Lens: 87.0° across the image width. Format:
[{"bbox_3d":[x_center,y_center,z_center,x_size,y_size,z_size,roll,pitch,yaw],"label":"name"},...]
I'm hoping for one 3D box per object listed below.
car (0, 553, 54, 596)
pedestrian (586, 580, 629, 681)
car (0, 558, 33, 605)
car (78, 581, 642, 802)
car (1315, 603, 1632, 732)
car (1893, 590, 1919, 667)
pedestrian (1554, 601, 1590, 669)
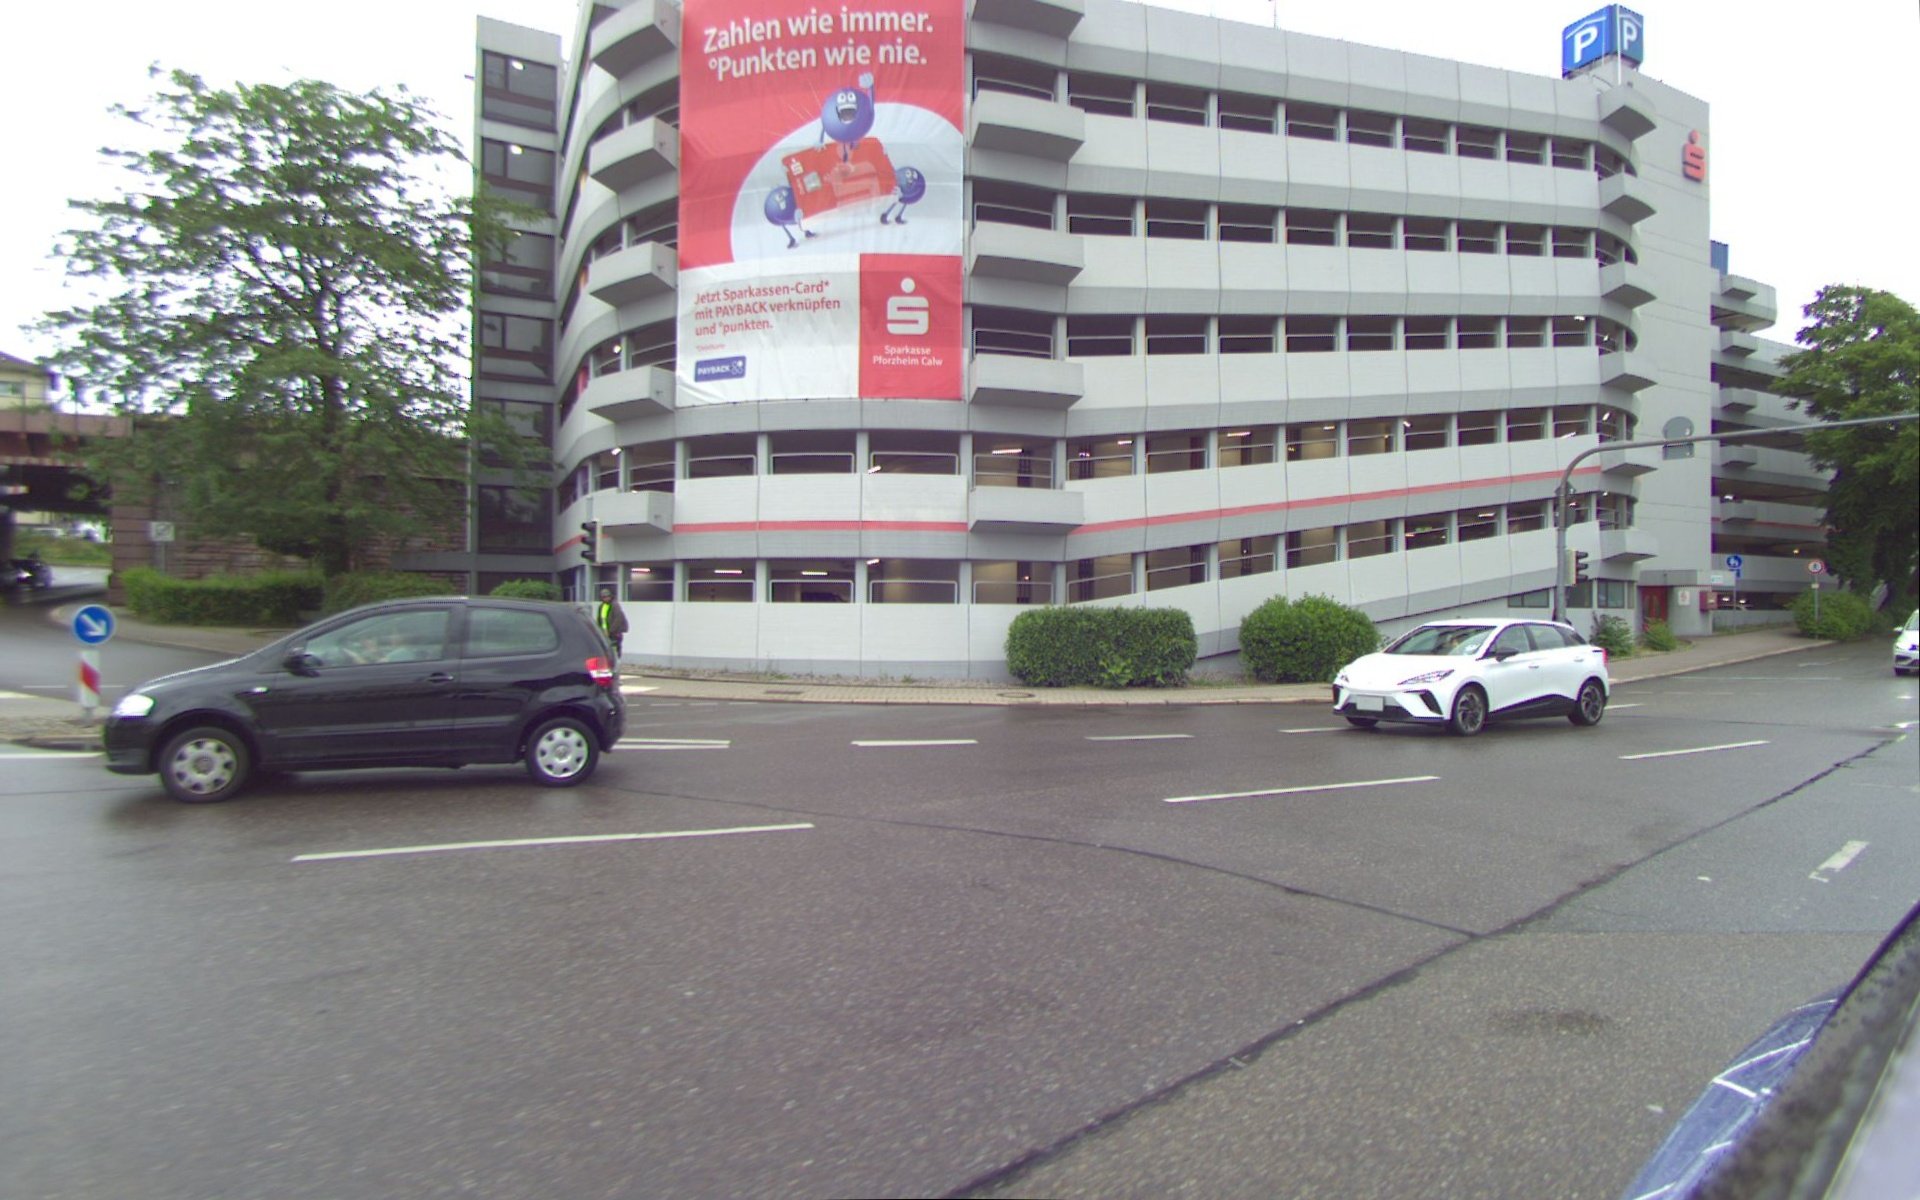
[{"bbox_3d":[-49.115,-1.310,52.699,1.960,2.039,4.004,-1,-1,-28],"label":"car"},{"bbox_3d":[-6.838,0.581,19.647,0.536,1.913,0.506,3,1,9],"label":"pedestrian"},{"bbox_3d":[-45.514,-0.835,47.544,1.960,2.039,4.004,-1,-1,-28],"label":"car"},{"bbox_3d":[-4.634,0.678,8.411,3.666,1.512,1.681,1,-2,-22],"label":"car"},{"bbox_3d":[7.078,0.843,13.907,4.124,1.497,1.808,-1,-2,-28],"label":"car"},{"bbox_3d":[24.046,0.687,24.066,4.318,1.748,1.999,1,0,-37],"label":"car"},{"bbox_3d":[15.846,0.894,26.206,0.508,1.679,0.586,-1,3,-24],"label":"pedestrian"}]
